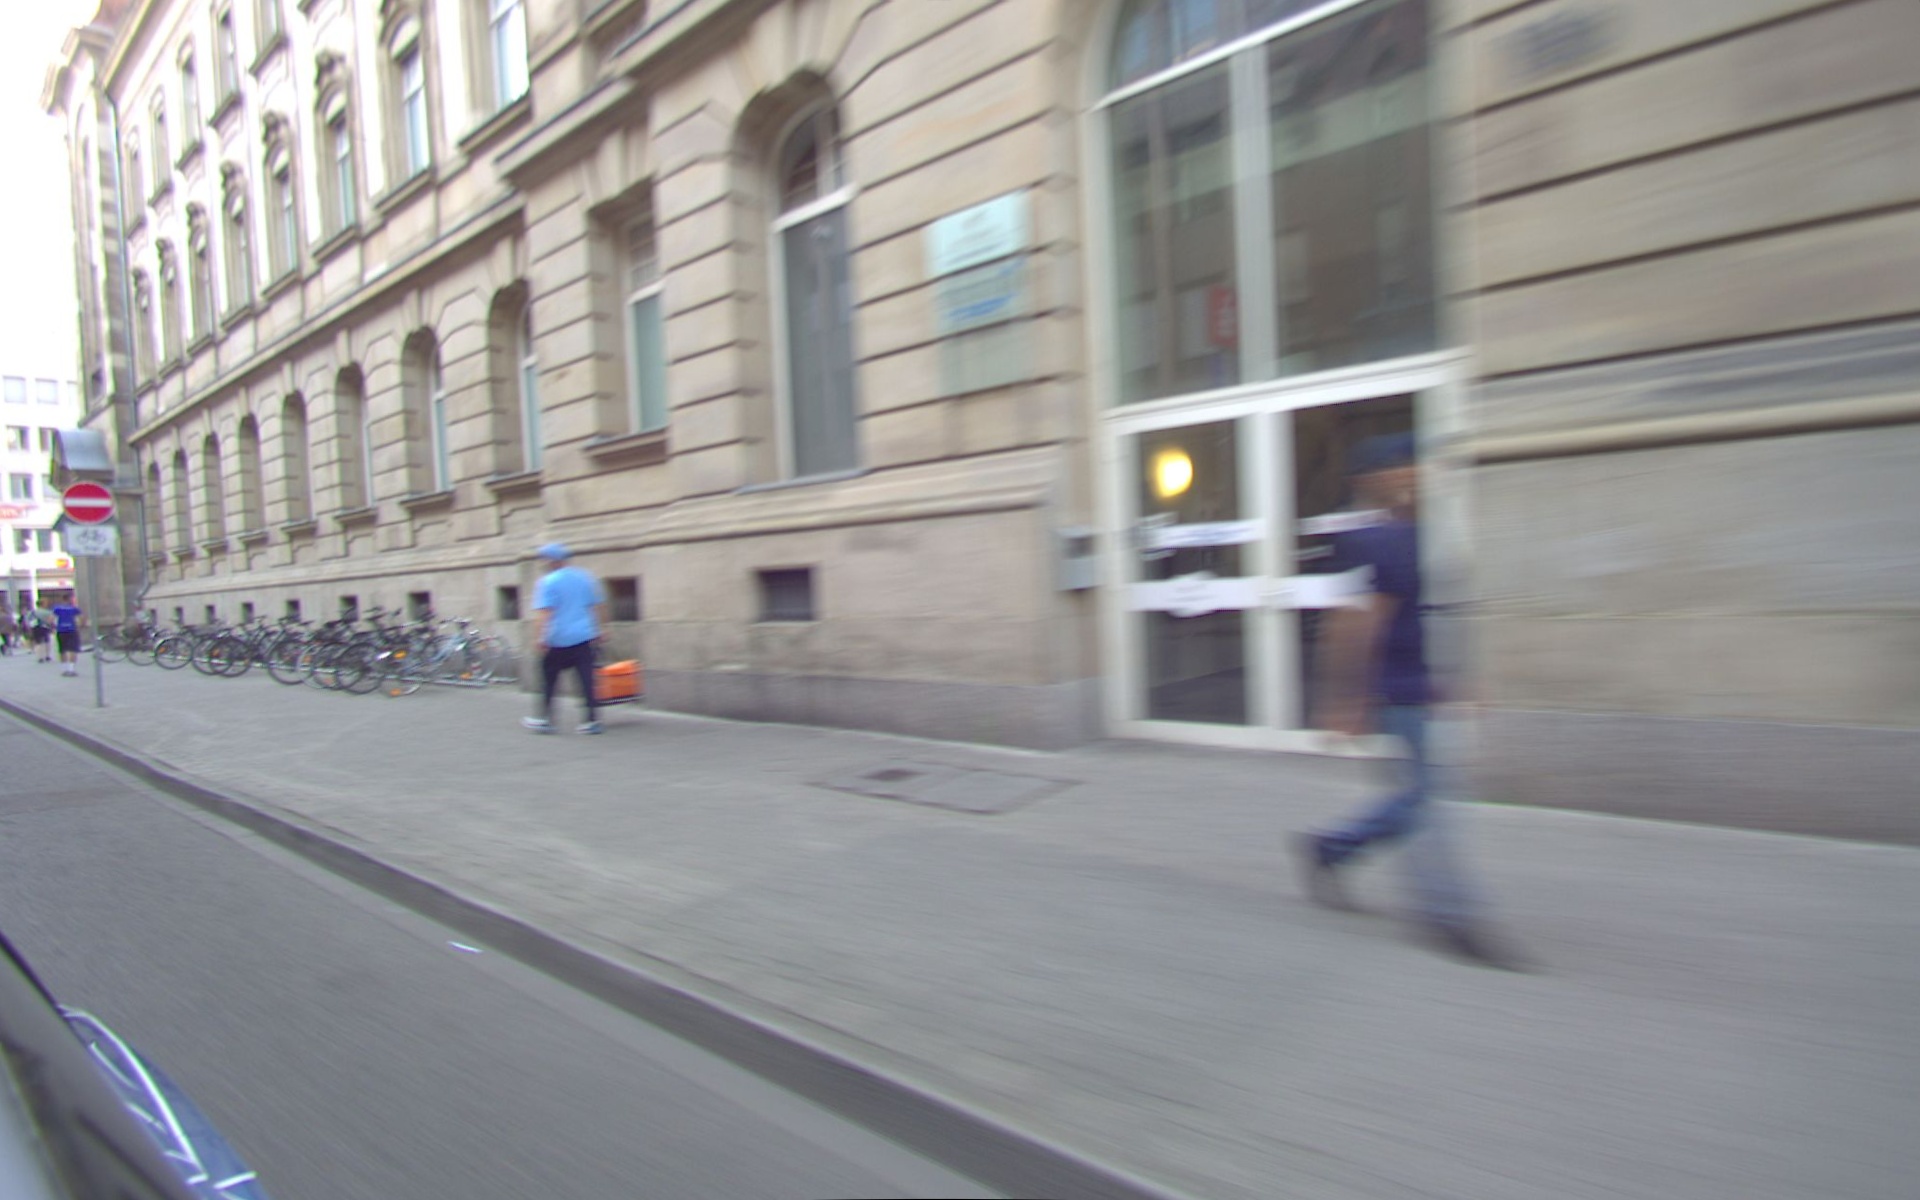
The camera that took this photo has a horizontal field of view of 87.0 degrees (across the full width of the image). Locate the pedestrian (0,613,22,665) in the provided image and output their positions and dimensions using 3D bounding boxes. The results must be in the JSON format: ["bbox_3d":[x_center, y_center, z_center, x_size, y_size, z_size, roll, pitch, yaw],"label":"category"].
[{"bbox_3d":[-32.245,1.330,34.105,0.858,1.679,0.721,-2,4,44],"label":"pedestrian"}]

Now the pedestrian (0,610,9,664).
[{"bbox_3d":[-33.616,1.317,35.116,0.708,1.843,0.871,-8,4,-41],"label":"pedestrian"}]

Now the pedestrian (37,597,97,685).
[{"bbox_3d":[-19.242,0.866,21.822,0.765,1.802,0.822,-4,2,-35],"label":"pedestrian"}]

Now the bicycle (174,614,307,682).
[{"bbox_3d":[-13.970,0.908,19.712,0.728,1.086,1.921,-2,3,34],"label":"bicycle"}]

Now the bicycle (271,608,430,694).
[{"bbox_3d":[-9.378,0.758,15.660,0.728,1.086,1.921,-2,3,34],"label":"bicycle"}]

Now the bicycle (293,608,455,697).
[{"bbox_3d":[-8.756,0.754,15.200,0.728,1.086,1.921,-2,3,34],"label":"bicycle"}]

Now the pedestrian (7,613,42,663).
[{"bbox_3d":[-32.908,1.317,35.614,0.747,1.653,0.749,-8,4,-41],"label":"pedestrian"}]

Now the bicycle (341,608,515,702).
[{"bbox_3d":[-7.159,0.710,13.707,0.720,1.053,1.918,-2,2,37],"label":"bicycle"}]

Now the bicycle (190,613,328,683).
[{"bbox_3d":[-13.072,0.871,18.934,0.728,1.086,1.921,-2,3,34],"label":"bicycle"}]

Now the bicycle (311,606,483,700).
[{"bbox_3d":[-7.896,0.709,14.261,0.747,1.086,1.918,-1,4,40],"label":"bicycle"}]

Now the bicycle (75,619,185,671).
[{"bbox_3d":[-21.391,1.135,26.128,0.728,1.117,2.002,-2,3,35],"label":"bicycle"}]

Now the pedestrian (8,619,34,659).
[{"bbox_3d":[-40.490,1.658,43.645,0.732,1.671,0.754,-3,0,-43],"label":"pedestrian"}]

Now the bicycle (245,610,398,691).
[{"bbox_3d":[-10.380,0.784,16.523,0.728,1.086,1.921,-2,3,34],"label":"bicycle"}]

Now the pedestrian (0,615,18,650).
[{"bbox_3d":[-48.134,1.643,51.084,0.746,1.701,0.722,-2,0,43],"label":"pedestrian"}]

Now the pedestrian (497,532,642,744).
[{"bbox_3d":[-3.498,0.312,9.083,0.768,1.758,0.820,-2,3,42],"label":"pedestrian"}]

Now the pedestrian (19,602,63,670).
[{"bbox_3d":[-25.530,0.991,28.122,0.800,1.793,0.710,-2,3,42],"label":"pedestrian"}]

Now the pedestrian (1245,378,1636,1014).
[{"bbox_3d":[1.626,0.253,3.417,0.969,1.763,0.801,-1,3,41],"label":"pedestrian"}]

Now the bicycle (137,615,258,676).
[{"bbox_3d":[-16.577,0.967,22.049,0.729,1.086,1.920,-1,3,36],"label":"bicycle"}]

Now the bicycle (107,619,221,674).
[{"bbox_3d":[-19.120,1.099,24.363,0.725,1.086,2.011,-2,3,22],"label":"bicycle"}]
